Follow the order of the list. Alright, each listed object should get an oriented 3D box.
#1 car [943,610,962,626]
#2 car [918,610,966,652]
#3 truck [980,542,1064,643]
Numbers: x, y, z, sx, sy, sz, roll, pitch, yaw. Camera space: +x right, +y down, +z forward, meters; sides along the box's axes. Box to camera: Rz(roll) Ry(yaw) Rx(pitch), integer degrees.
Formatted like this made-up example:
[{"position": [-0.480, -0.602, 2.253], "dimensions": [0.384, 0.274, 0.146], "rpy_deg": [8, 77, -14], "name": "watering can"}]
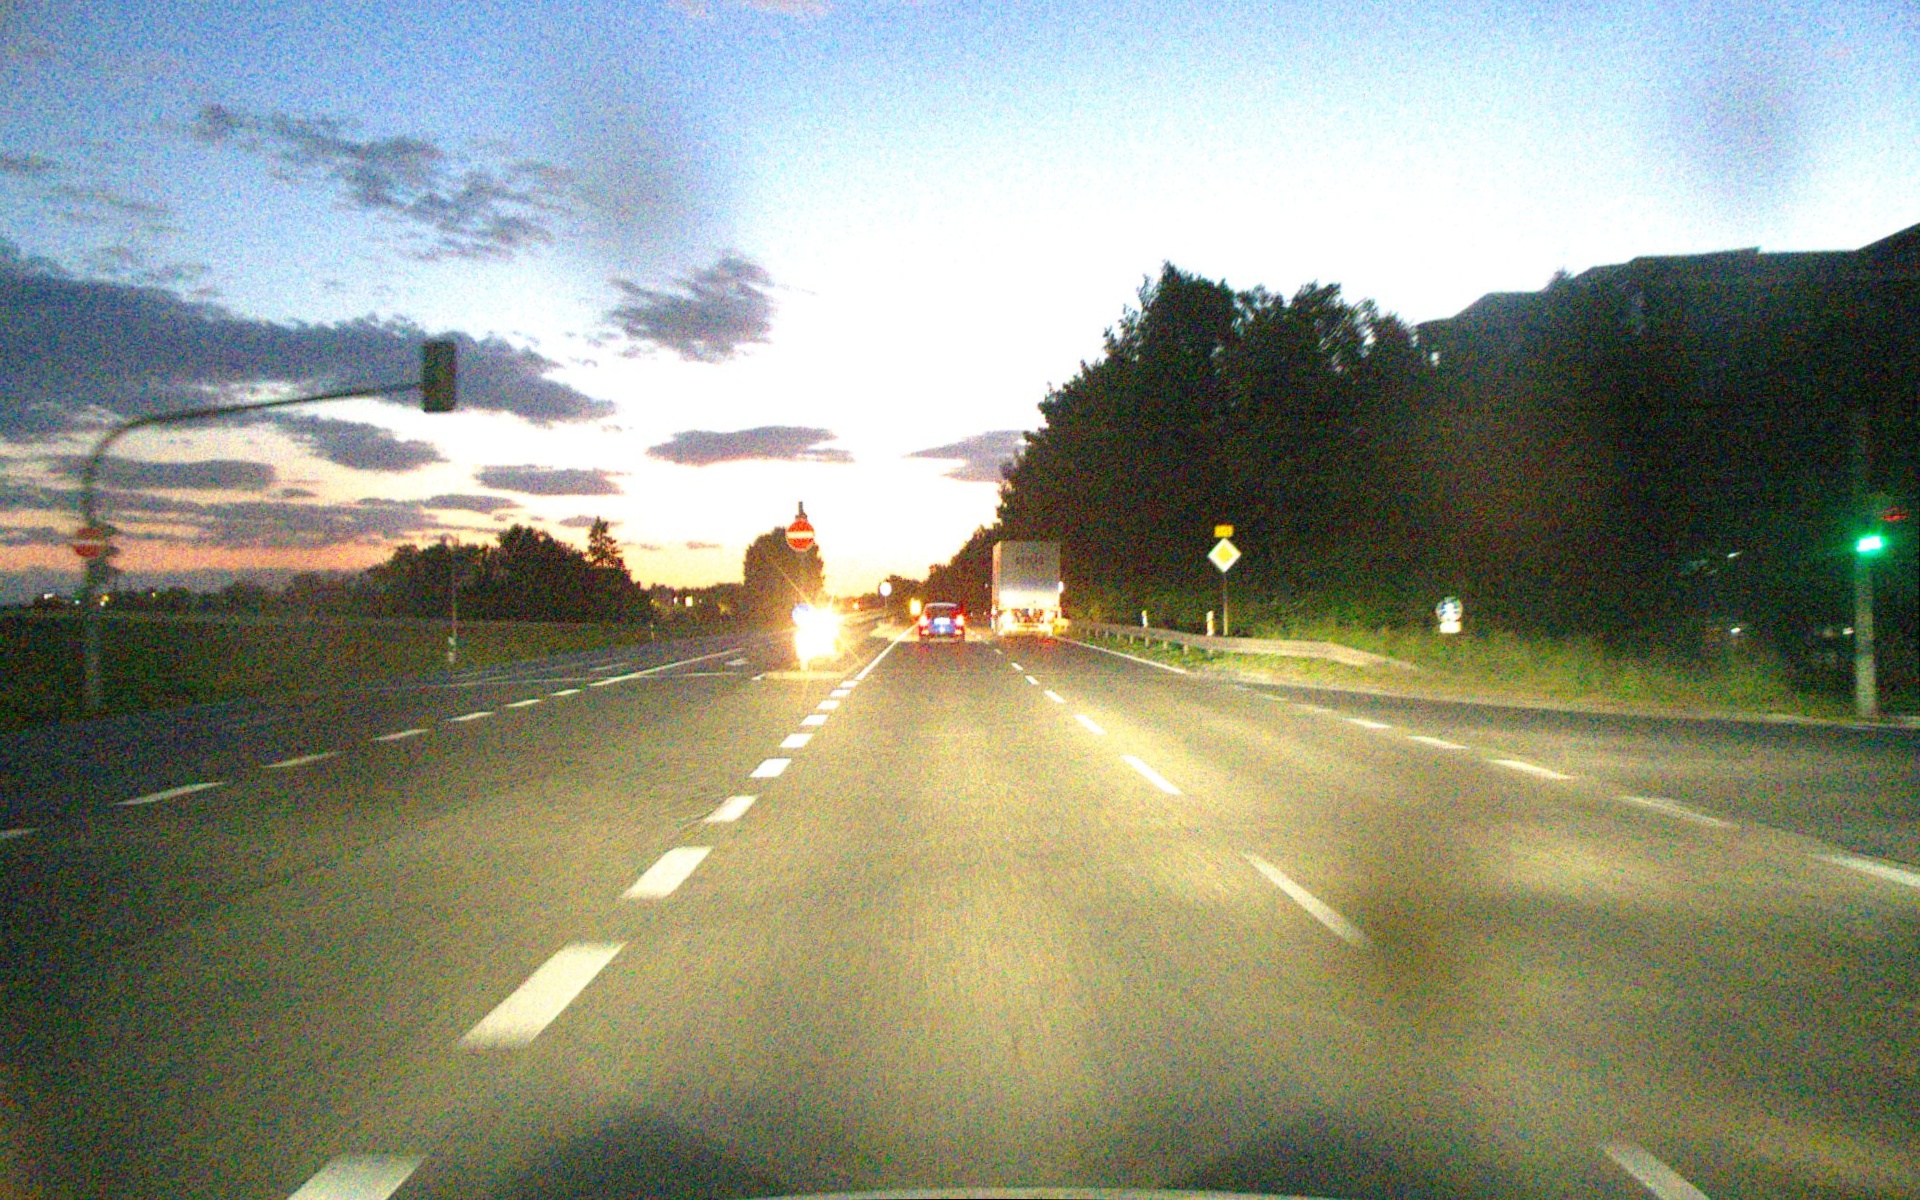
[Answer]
[{"position": [-0.765, 1.704, 158.390], "dimensions": [1.661, 1.478, 3.912], "rpy_deg": [0, 0, -2], "name": "car"}, {"position": [-0.699, 1.101, 60.743], "dimensions": [1.661, 1.478, 3.912], "rpy_deg": [0, 0, -2], "name": "car"}, {"position": [2.622, -0.283, 74.430], "dimensions": [2.825, 4.178, 12.677], "rpy_deg": [0, 0, -2], "name": "truck"}]
